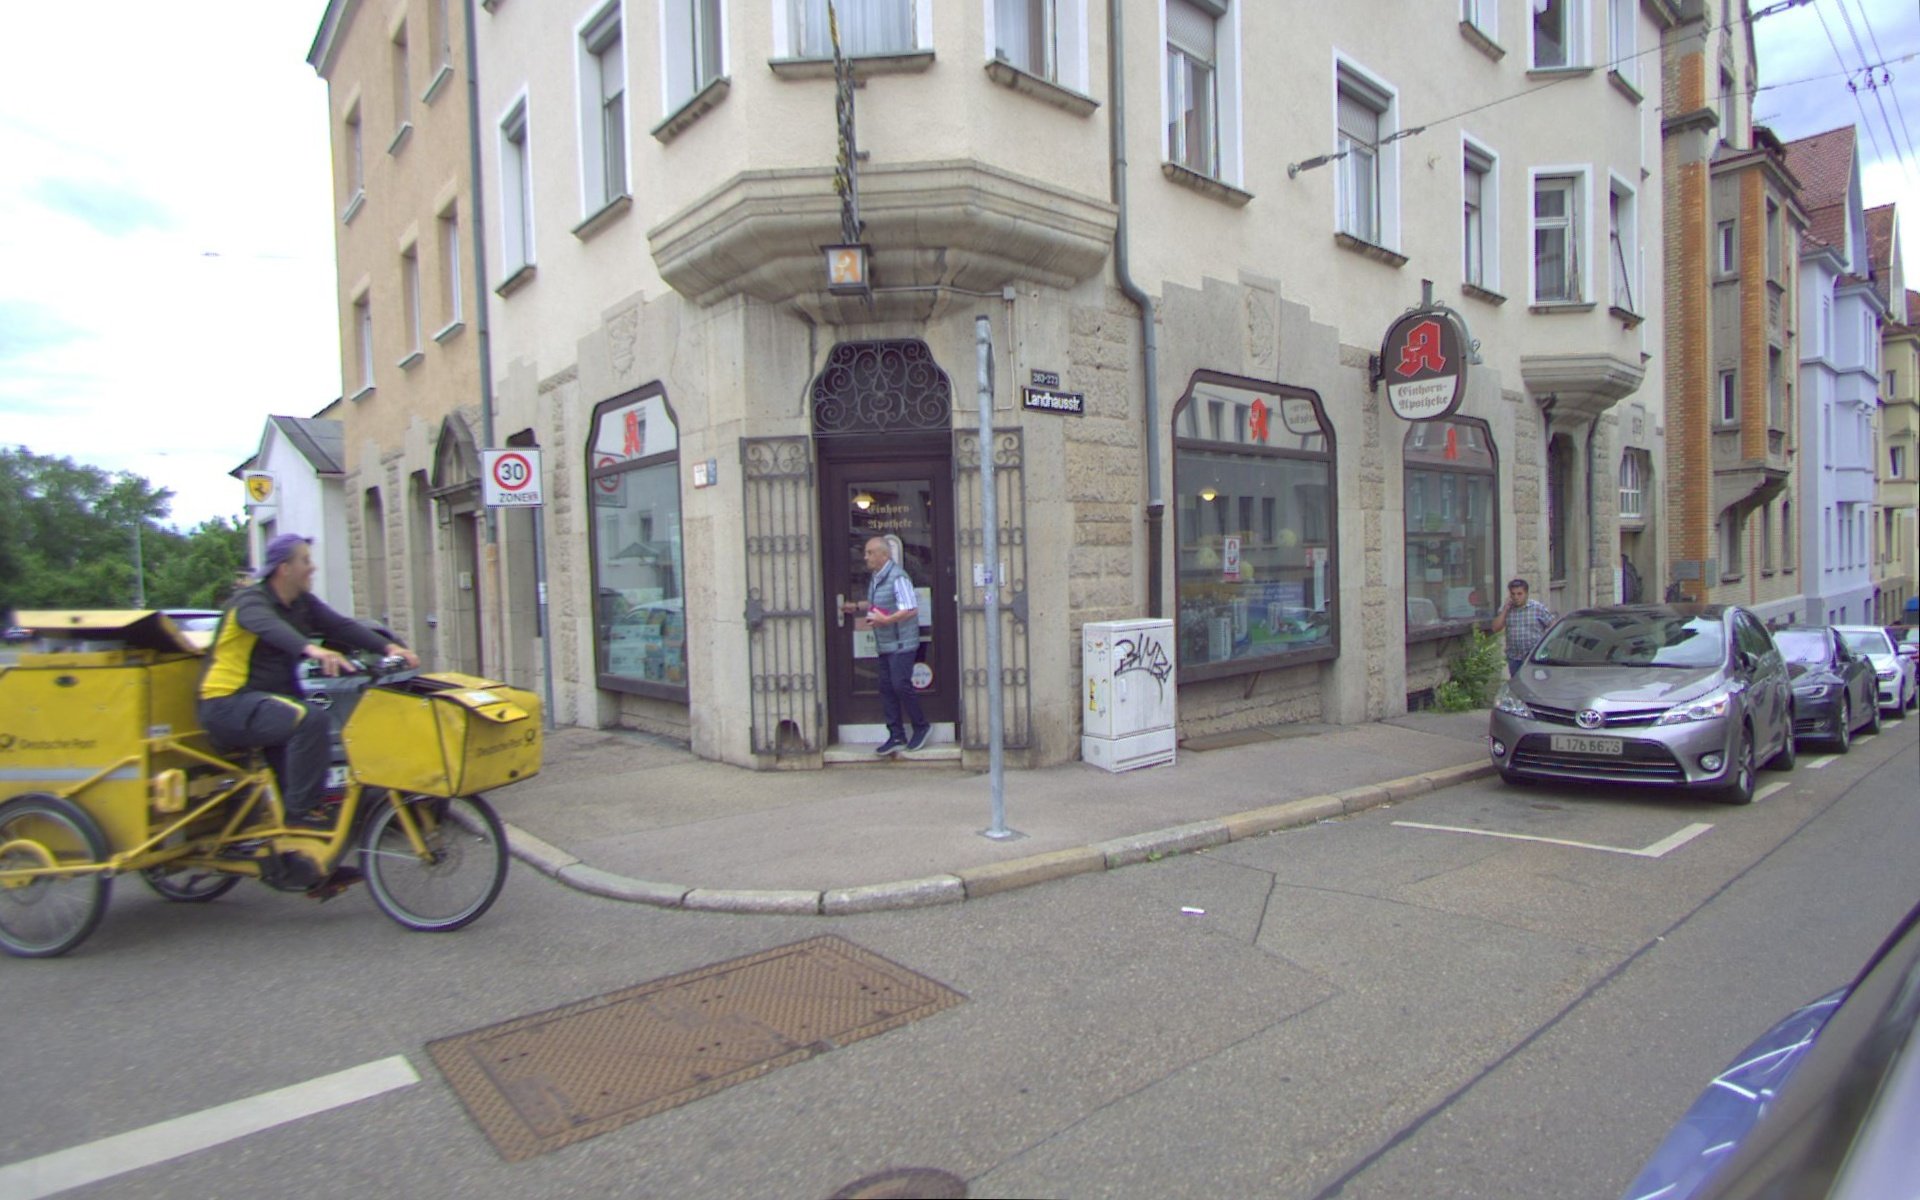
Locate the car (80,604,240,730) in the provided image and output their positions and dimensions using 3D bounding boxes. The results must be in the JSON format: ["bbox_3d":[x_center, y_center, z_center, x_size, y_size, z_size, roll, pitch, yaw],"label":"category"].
[{"bbox_3d":[-11.898,0.890,14.958,1.553,1.602,3.978,1,-1,-43],"label":"car"}]

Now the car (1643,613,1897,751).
[{"bbox_3d":[10.240,0.892,12.654,4.612,1.408,1.781,1,-2,-43],"label":"car"}]

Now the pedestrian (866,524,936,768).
[{"bbox_3d":[-0.454,0.337,7.681,0.482,1.790,0.485,0,-1,-7],"label":"pedestrian"}]

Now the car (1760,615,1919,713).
[{"bbox_3d":[14.747,0.964,16.703,4.234,1.408,1.752,1,-2,-43],"label":"car"}]

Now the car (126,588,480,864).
[{"bbox_3d":[-4.955,0.706,7.402,1.553,1.483,3.851,1,-1,-43],"label":"car"}]

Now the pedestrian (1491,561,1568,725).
[{"bbox_3d":[6.566,0.476,11.676,0.621,1.826,0.600,0,-1,-41],"label":"pedestrian"}]

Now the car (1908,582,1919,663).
[{"bbox_3d":[30.869,0.673,31.168,4.968,2.406,1.996,0,0,-42],"label":"car"}]

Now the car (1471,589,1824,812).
[{"bbox_3d":[6.456,0.743,9.278,4.497,1.557,1.736,1,-2,-44],"label":"car"}]

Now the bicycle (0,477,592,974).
[{"bbox_3d":[-3.191,0.497,4.504,2.677,1.890,1.182,-1,-1,1],"label":"bicycle"}]

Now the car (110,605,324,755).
[{"bbox_3d":[-8.368,0.775,11.289,1.553,1.406,3.436,1,-1,-43],"label":"car"}]
